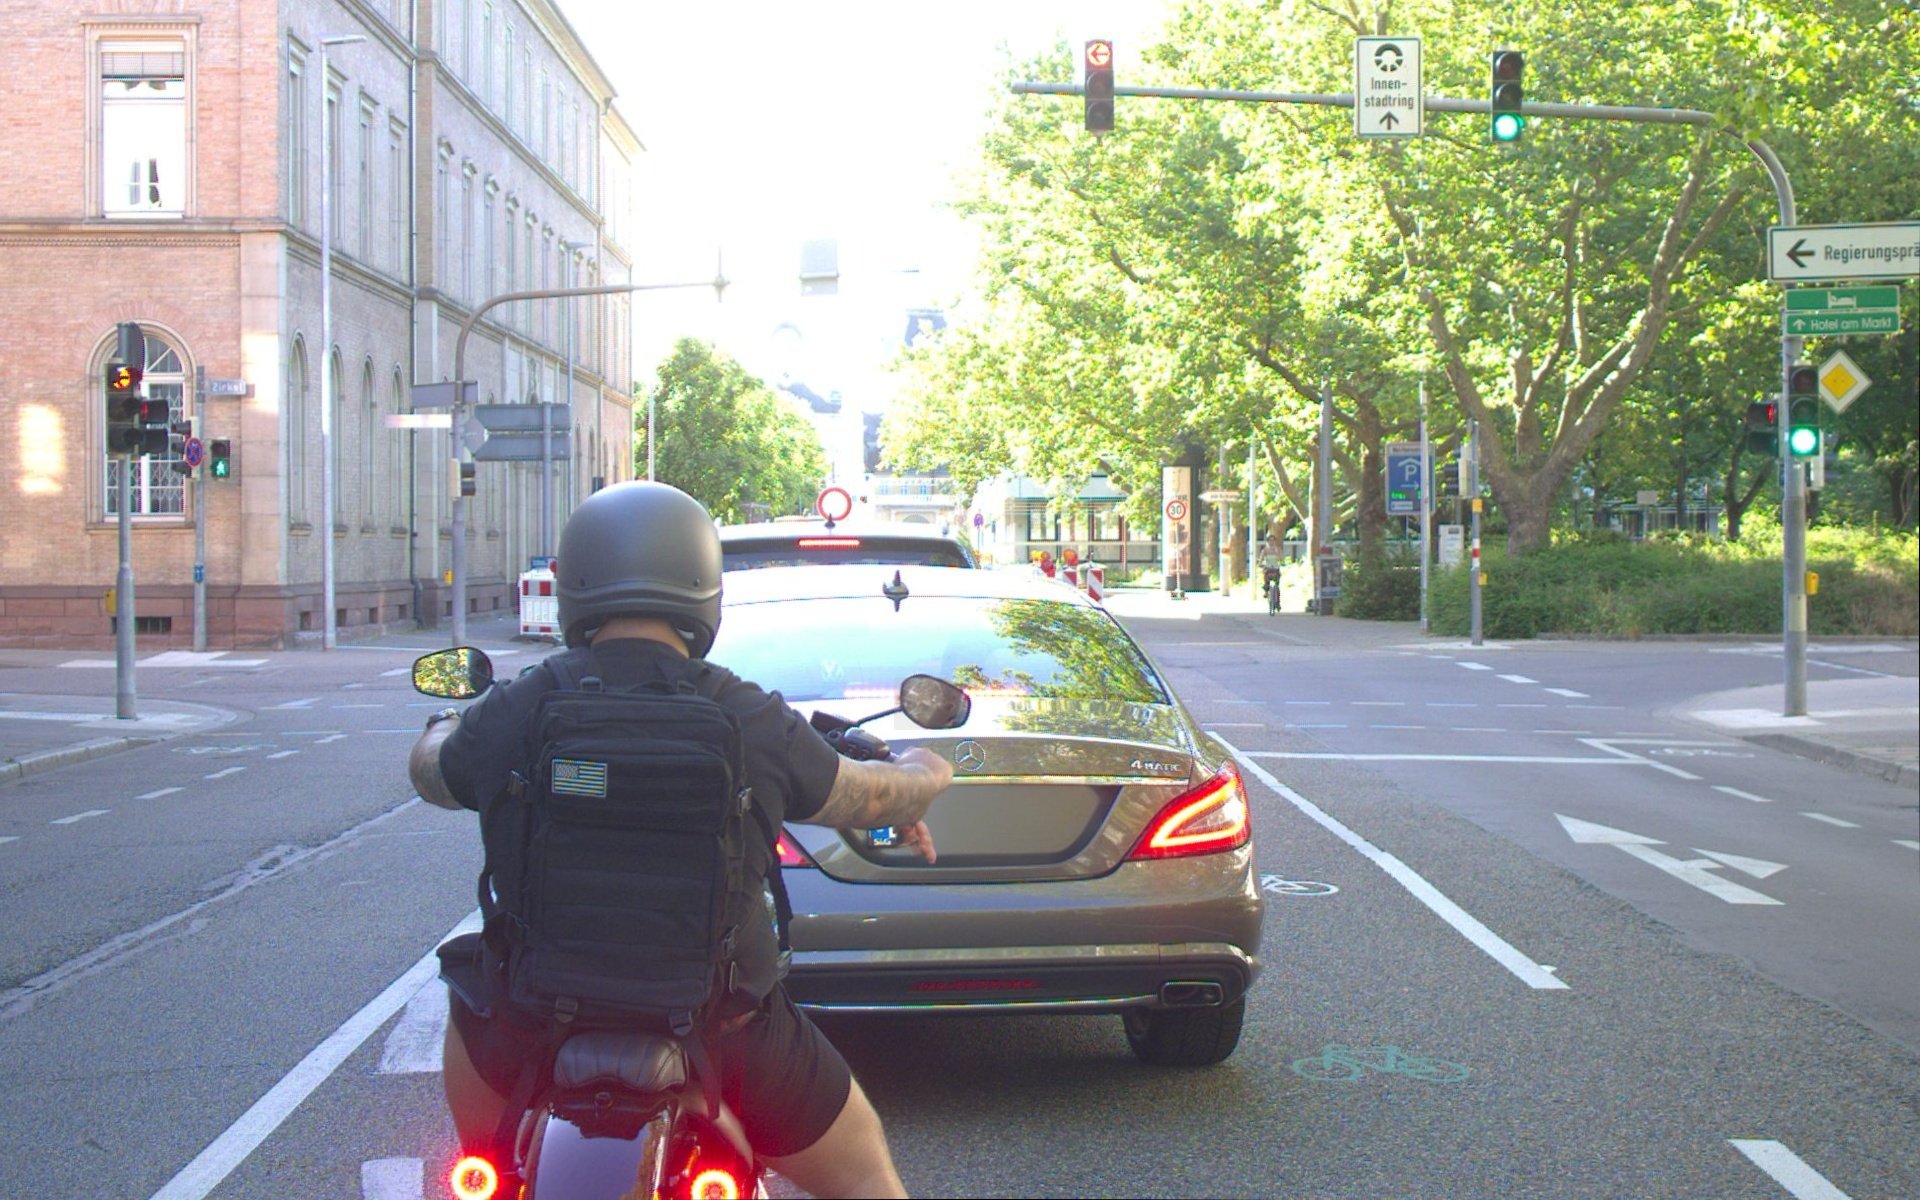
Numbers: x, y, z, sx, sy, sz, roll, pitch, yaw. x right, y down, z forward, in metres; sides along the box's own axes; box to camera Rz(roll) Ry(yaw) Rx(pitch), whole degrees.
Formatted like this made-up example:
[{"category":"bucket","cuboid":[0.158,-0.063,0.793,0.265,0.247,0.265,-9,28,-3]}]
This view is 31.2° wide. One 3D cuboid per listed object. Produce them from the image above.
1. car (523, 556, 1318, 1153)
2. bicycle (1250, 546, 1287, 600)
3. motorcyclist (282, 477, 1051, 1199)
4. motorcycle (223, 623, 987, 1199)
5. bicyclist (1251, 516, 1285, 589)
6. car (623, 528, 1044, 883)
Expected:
[{"category":"car","cuboid":[-0.352,0.595,10.668,1.901,1.436,4.290,0,1,-8]},{"category":"bicycle","cuboid":[6.762,-0.591,75.442,0.716,1.168,2.176,1,1,3]},{"category":"motorcyclist","cuboid":[-0.419,0.620,5.262,1.061,1.577,0.908,1,0,-1]},{"category":"motorcycle","cuboid":[-0.469,0.739,5.533,0.962,1.352,2.320,1,1,-1]},{"category":"bicyclist","cuboid":[6.757,-1.038,75.457,0.716,1.577,0.936,1,0,4]},{"category":"car","cuboid":[-0.650,0.418,16.764,1.813,1.530,3.849,0,1,-3]}]
